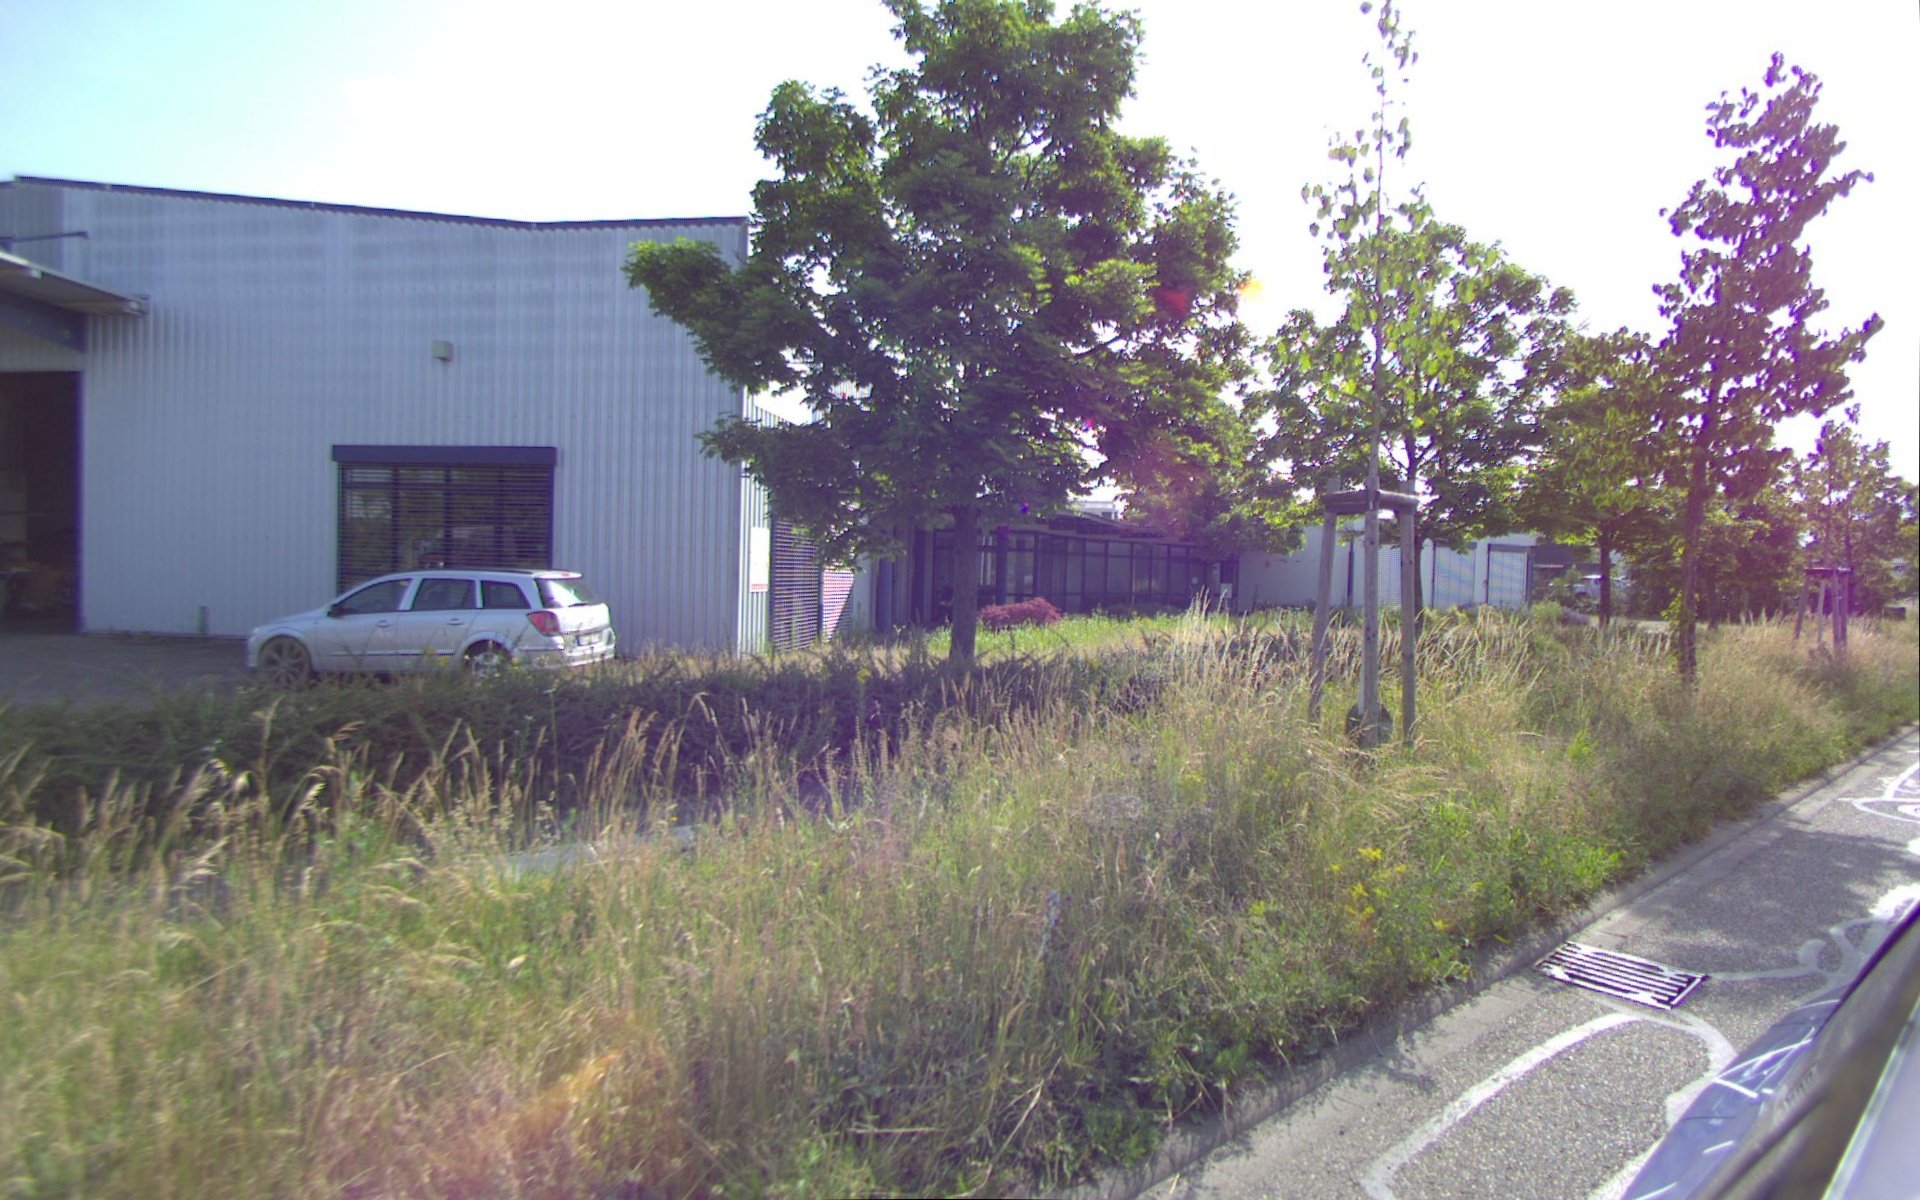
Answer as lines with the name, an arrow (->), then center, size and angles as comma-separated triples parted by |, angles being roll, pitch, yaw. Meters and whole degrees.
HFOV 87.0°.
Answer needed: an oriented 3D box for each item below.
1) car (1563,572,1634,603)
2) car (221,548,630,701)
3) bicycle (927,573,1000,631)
car -> 35.653, -0.710, 56.467 | 3.679, 1.703, 1.603 | -1, 0, -25
car -> -6.530, 0.223, 12.620 | 4.284, 1.581, 1.758 | 2, 4, 7
bicycle -> 0.125, 0.040, 27.381 | 0.803, 1.489, 2.249 | -1, 0, 36
